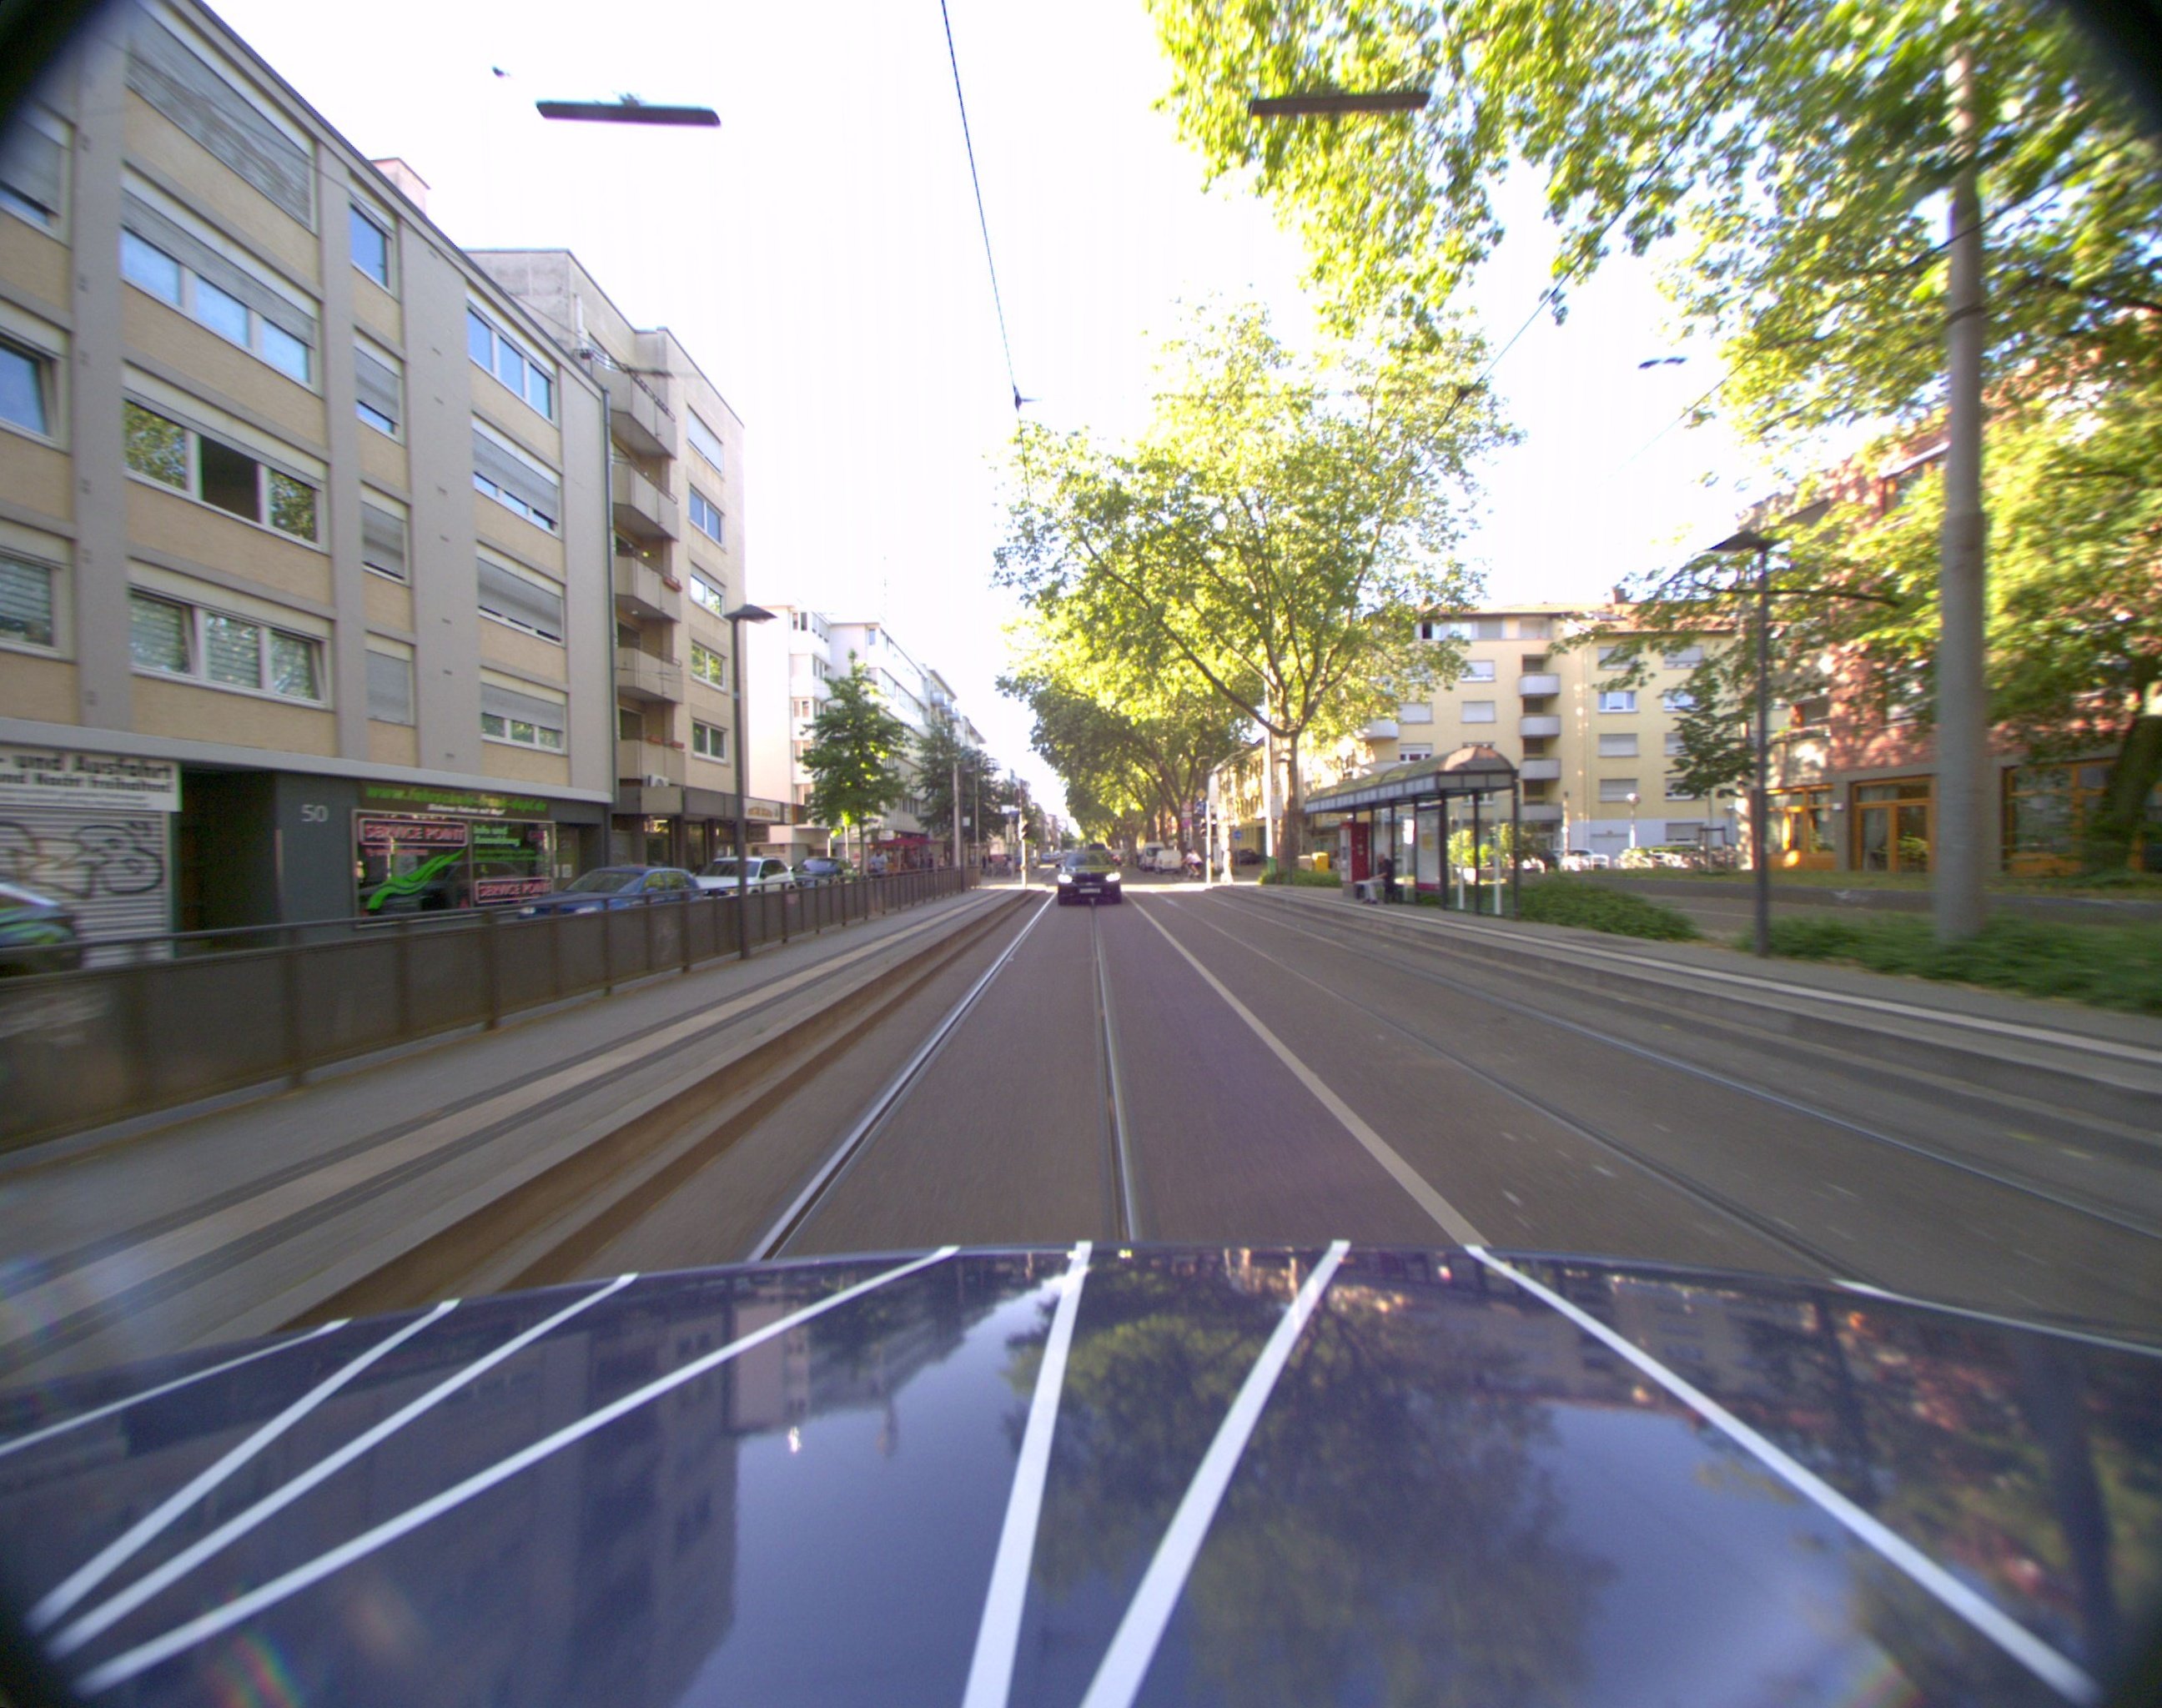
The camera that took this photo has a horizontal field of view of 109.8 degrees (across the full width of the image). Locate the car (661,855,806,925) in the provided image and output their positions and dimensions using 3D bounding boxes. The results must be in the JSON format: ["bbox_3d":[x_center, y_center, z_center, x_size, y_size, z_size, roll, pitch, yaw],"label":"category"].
[{"bbox_3d":[-9.249,0.879,20.702,1.804,1.596,4.414,-2,1,1],"label":"car"}]

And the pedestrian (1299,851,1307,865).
[{"bbox_3d":[17.935,0.304,61.314,0.421,1.099,0.437,-2,1,-10],"label":"pedestrian"}]

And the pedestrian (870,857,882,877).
[{"bbox_3d":[-13.760,0.852,51.025,0.536,1.280,0.715,-2,1,2],"label":"pedestrian"}]

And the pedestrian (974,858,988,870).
[{"bbox_3d":[-8.747,0.881,66.269,0.999,1.021,0.662,-1,1,34],"label":"pedestrian"}]

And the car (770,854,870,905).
[{"bbox_3d":[-9.417,0.848,27.856,1.998,1.606,4.444,-2,1,1],"label":"car"}]

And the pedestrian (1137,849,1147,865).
[{"bbox_3d":[6.816,0.362,85.327,0.768,1.725,0.715,-1,2,42],"label":"pedestrian"}]

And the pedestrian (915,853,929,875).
[{"bbox_3d":[-11.855,0.744,56.691,0.813,1.649,0.679,-2,1,5],"label":"pedestrian"}]

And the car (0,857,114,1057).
[{"bbox_3d":[-9.721,0.892,4.656,1.862,1.606,4.397,-2,1,1],"label":"car"}]

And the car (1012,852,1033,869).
[{"bbox_3d":[-5.872,0.664,76.464,1.763,1.578,4.328,2,1,0],"label":"car"}]

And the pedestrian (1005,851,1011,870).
[{"bbox_3d":[-7.435,0.653,77.797,0.539,1.841,0.663,-2,1,-5],"label":"pedestrian"}]

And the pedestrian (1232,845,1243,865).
[{"bbox_3d":[15.239,0.077,74.001,0.746,1.859,0.863,-2,1,-2],"label":"pedestrian"}]

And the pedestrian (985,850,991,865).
[{"bbox_3d":[-10.754,0.404,87.952,0.597,1.668,0.934,1,1,-2],"label":"pedestrian"}]

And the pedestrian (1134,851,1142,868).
[{"bbox_3d":[6.377,0.601,84.468,0.769,1.767,0.714,-2,1,10],"label":"pedestrian"}]

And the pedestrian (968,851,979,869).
[{"bbox_3d":[-10.495,0.595,74.270,0.593,1.774,0.992,-2,1,-42],"label":"pedestrian"}]

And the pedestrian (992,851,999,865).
[{"bbox_3d":[-9.921,0.465,88.006,0.643,1.628,0.869,1,1,-1],"label":"pedestrian"}]

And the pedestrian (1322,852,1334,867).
[{"bbox_3d":[17.715,0.398,54.488,0.580,1.041,0.711,-2,1,-1],"label":"pedestrian"}]

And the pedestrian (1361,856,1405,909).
[{"bbox_3d":[6.774,0.626,17.078,0.707,1.162,0.659,0,1,-3],"label":"pedestrian"}]

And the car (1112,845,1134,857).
[{"bbox_3d":[9.356,-0.645,168.124,4.661,2.518,2.000,-2,1,0],"label":"car"}]

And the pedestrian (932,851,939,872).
[{"bbox_3d":[-12.505,0.615,65.218,0.432,1.786,0.489,-2,1,-1],"label":"pedestrian"}]

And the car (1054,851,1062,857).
[{"bbox_3d":[-5.709,0.002,191.428,1.867,1.499,3.999,-2,1,1],"label":"car"}]

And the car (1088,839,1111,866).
[{"bbox_3d":[1.882,-0.175,80.732,2.119,2.722,6.113,0,1,-1],"label":"car"}]

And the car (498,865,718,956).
[{"bbox_3d":[-9.377,1.027,15.565,1.748,1.432,4.246,-2,1,1],"label":"car"}]

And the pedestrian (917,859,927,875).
[{"bbox_3d":[-12.948,1.036,61.947,0.510,1.269,0.624,-3,2,-37],"label":"pedestrian"}]

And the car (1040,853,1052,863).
[{"bbox_3d":[-6.961,0.738,150.770,1.958,1.914,3.999,-2,1,1],"label":"car"}]

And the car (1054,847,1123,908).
[{"bbox_3d":[0.253,0.664,24.641,1.998,1.723,4.399,-2,1,1],"label":"car"}]

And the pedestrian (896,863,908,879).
[{"bbox_3d":[-12.413,1.202,52.754,0.643,1.072,0.521,-2,1,-1],"label":"pedestrian"}]

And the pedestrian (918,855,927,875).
[{"bbox_3d":[-12.910,0.872,61.877,0.508,1.619,0.517,-3,2,-37],"label":"pedestrian"}]

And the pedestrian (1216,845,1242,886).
[{"bbox_3d":[6.772,0.506,34.775,0.926,1.825,0.920,-2,1,-3],"label":"pedestrian"}]

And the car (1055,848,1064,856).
[{"bbox_3d":[-5.612,-0.475,200.867,1.991,2.085,4.470,-2,1,1],"label":"car"}]

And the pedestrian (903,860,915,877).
[{"bbox_3d":[-12.423,1.031,54.873,0.660,1.168,0.521,-2,1,-1],"label":"pedestrian"}]

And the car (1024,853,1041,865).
[{"bbox_3d":[-6.094,0.623,95.856,1.791,1.528,4.127,1,0,0],"label":"car"}]
